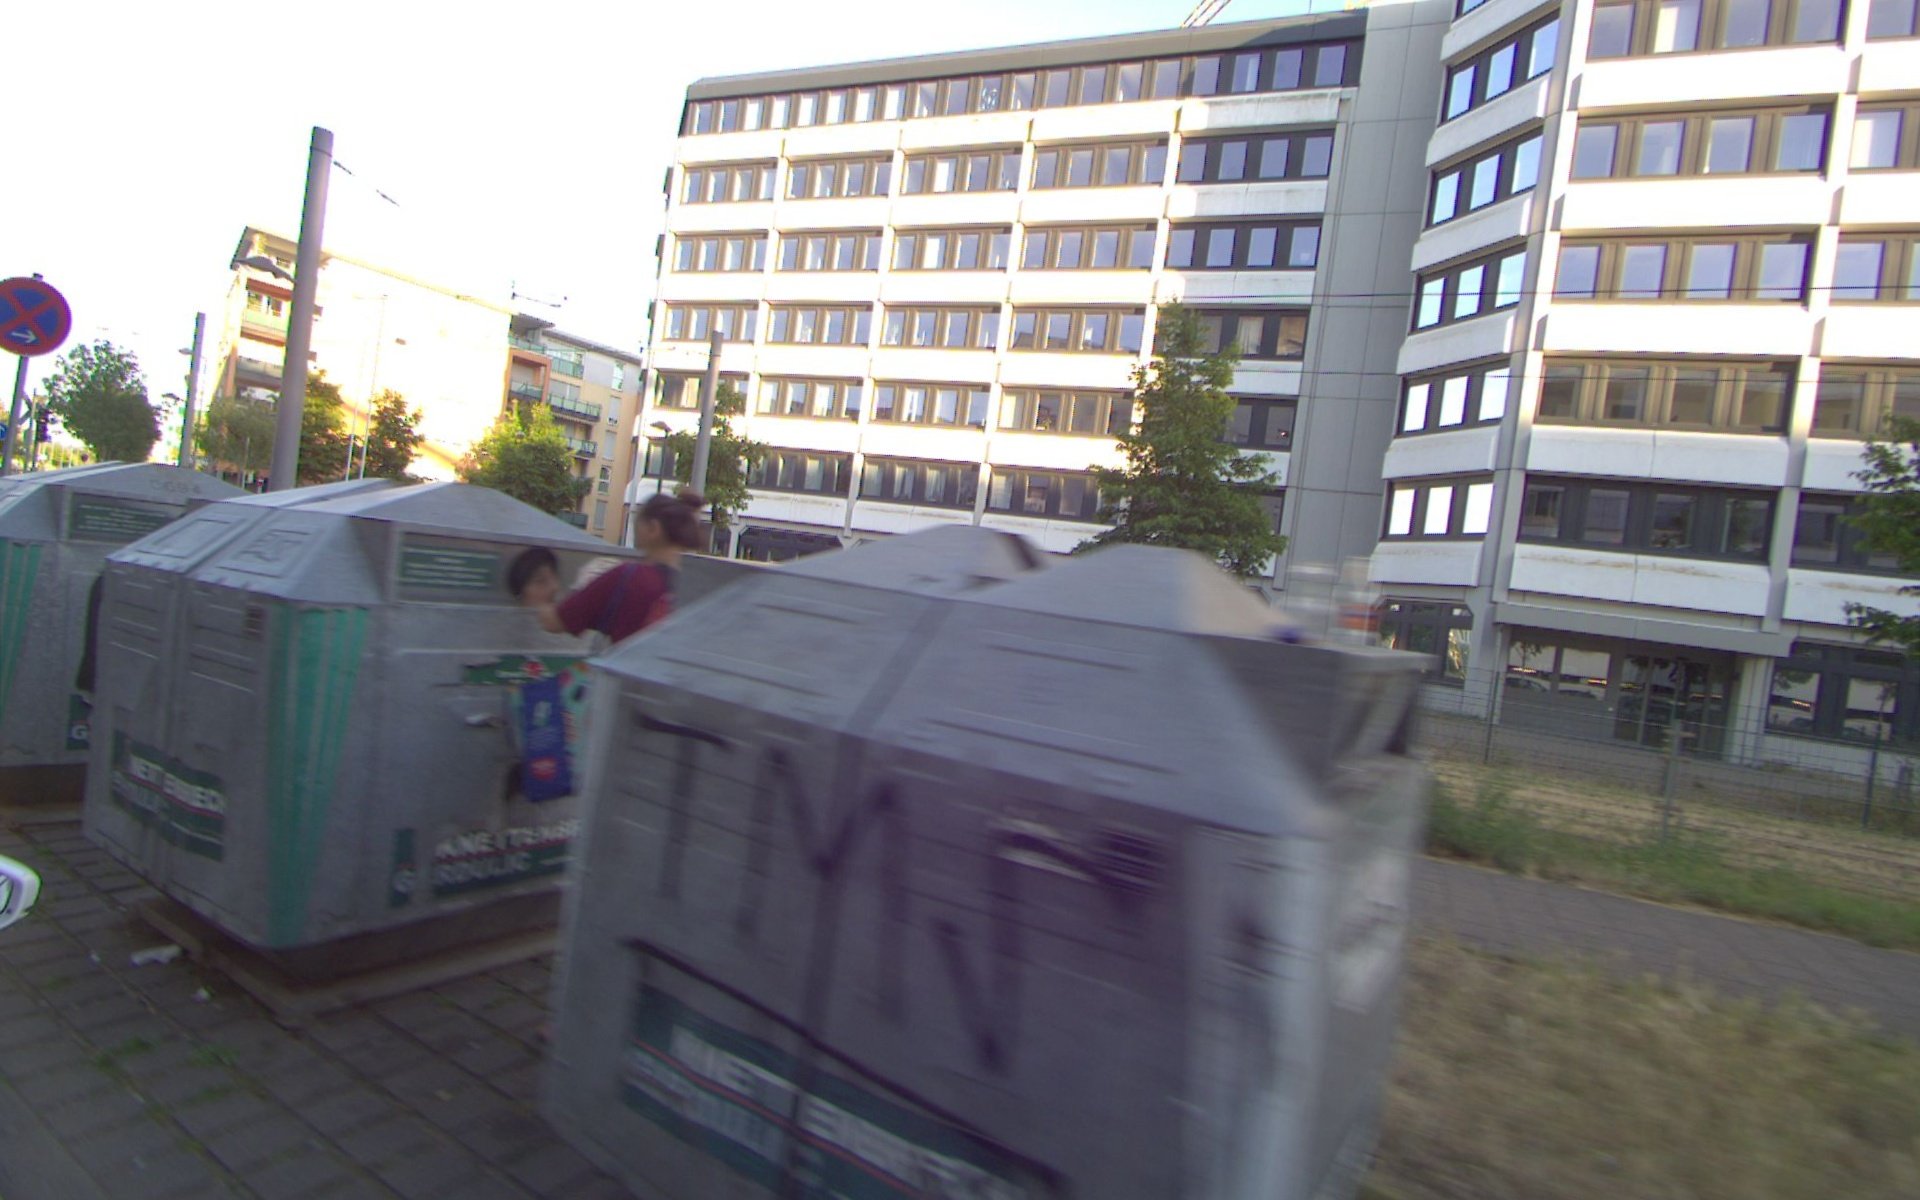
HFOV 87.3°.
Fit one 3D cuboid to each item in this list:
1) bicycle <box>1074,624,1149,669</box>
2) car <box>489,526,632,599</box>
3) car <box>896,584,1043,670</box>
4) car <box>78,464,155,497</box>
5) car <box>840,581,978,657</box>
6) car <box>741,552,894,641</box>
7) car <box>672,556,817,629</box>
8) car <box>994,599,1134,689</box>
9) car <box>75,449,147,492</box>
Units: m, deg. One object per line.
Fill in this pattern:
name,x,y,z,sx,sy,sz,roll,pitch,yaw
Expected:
bicycle,5.426,1.656,36.041,2.388,1.214,0.831,9,-2,24
car,-14.141,-1.264,35.867,1.896,1.960,4.508,8,0,24
car,0.348,0.716,23.841,1.663,1.621,4.509,8,0,24
car,-61.552,-8.684,73.452,4.138,1.595,1.683,9,0,-41
car,-1.266,0.580,27.071,1.663,1.621,4.508,8,0,24
car,-3.894,-0.021,28.311,1.897,1.960,4.508,8,0,25
car,-6.252,-0.169,29.718,1.663,1.621,4.508,8,0,24
car,2.480,1.029,22.768,1.663,1.621,4.509,8,0,24
car,-68.878,-10.487,81.658,4.143,2.616,1.681,8,0,-44
